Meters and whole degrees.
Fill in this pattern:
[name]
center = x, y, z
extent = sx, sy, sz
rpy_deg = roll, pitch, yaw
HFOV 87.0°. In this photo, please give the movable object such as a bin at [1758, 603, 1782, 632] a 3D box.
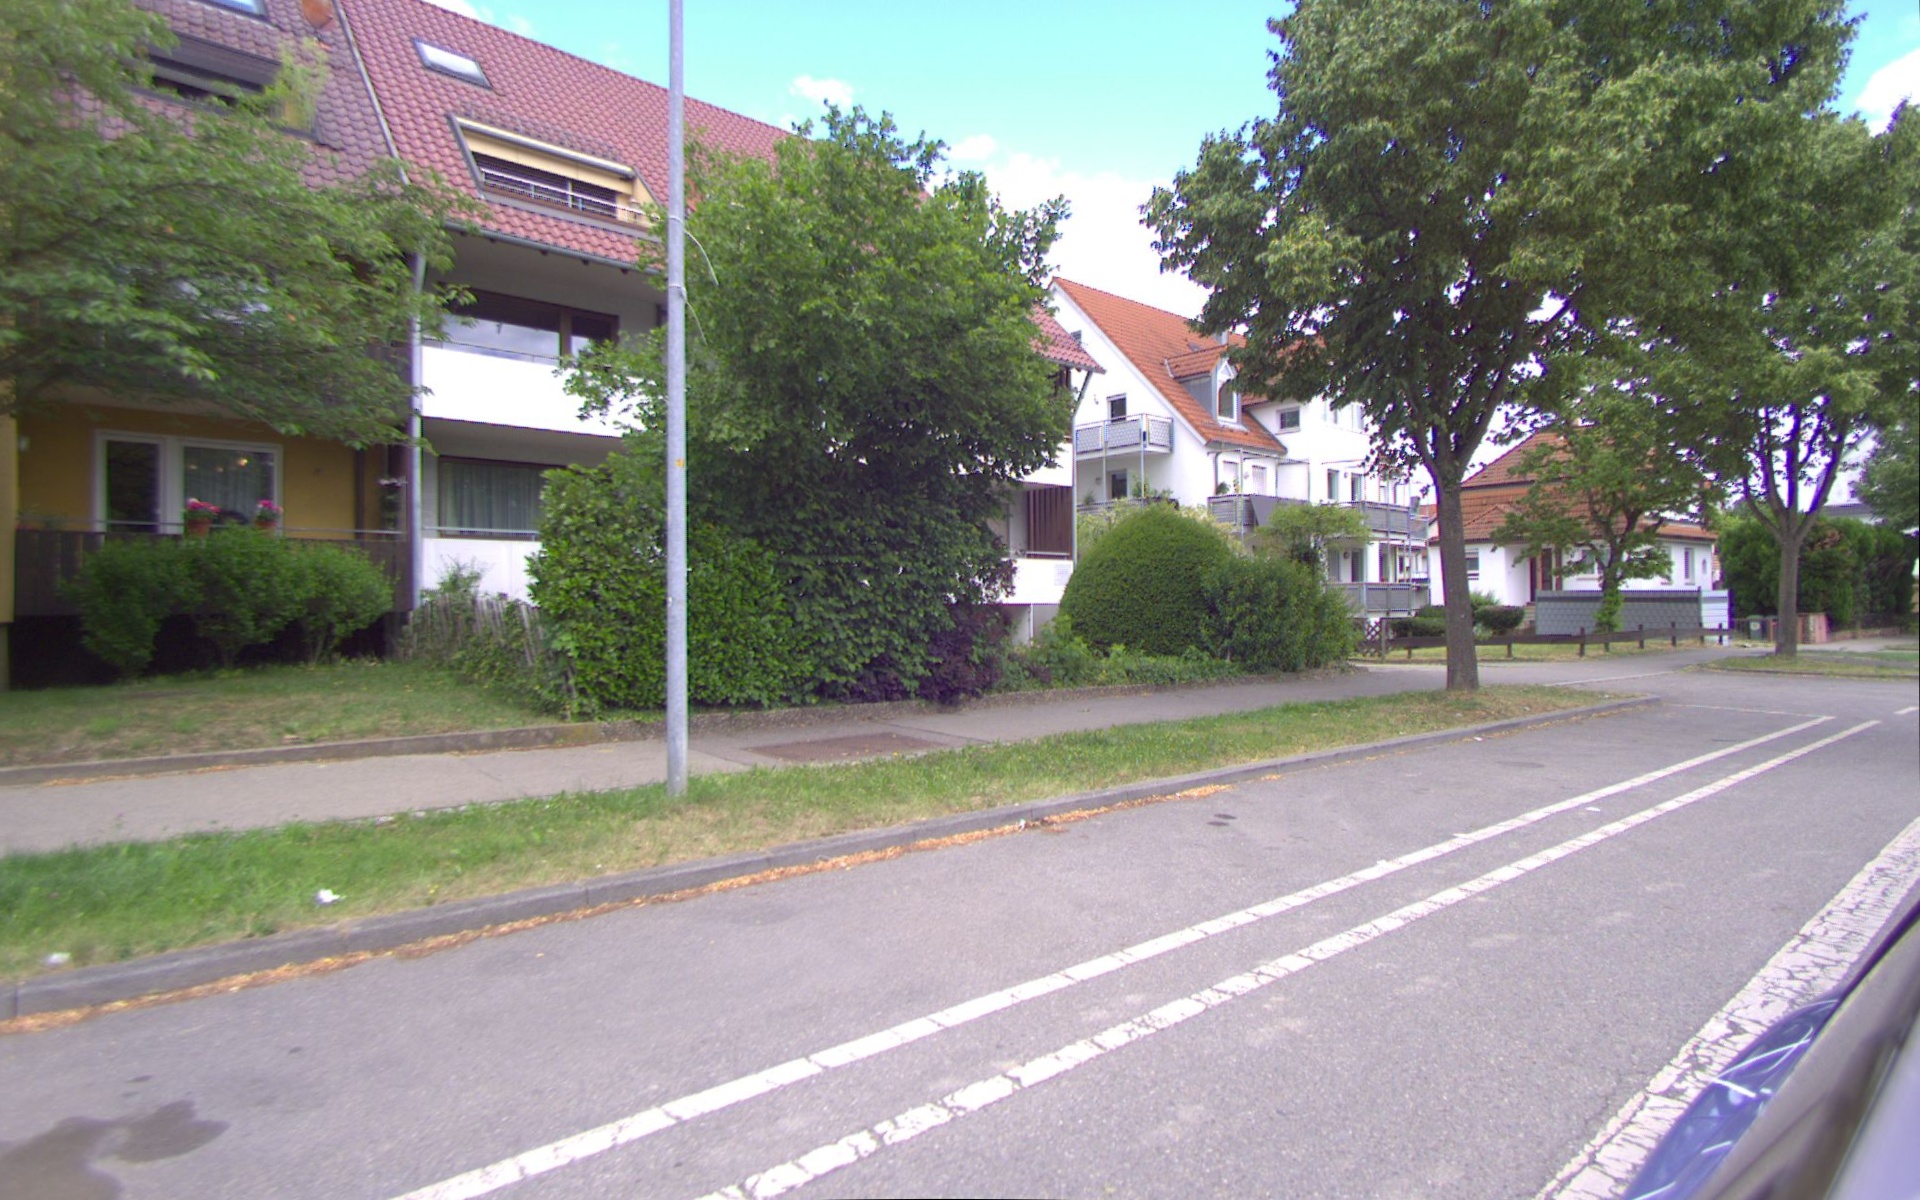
[movable object such as a bin]
center = 30.512, 0.650, 38.132
extent = 0.508, 1.072, 0.542
rpy_deg = 0, 0, -24
